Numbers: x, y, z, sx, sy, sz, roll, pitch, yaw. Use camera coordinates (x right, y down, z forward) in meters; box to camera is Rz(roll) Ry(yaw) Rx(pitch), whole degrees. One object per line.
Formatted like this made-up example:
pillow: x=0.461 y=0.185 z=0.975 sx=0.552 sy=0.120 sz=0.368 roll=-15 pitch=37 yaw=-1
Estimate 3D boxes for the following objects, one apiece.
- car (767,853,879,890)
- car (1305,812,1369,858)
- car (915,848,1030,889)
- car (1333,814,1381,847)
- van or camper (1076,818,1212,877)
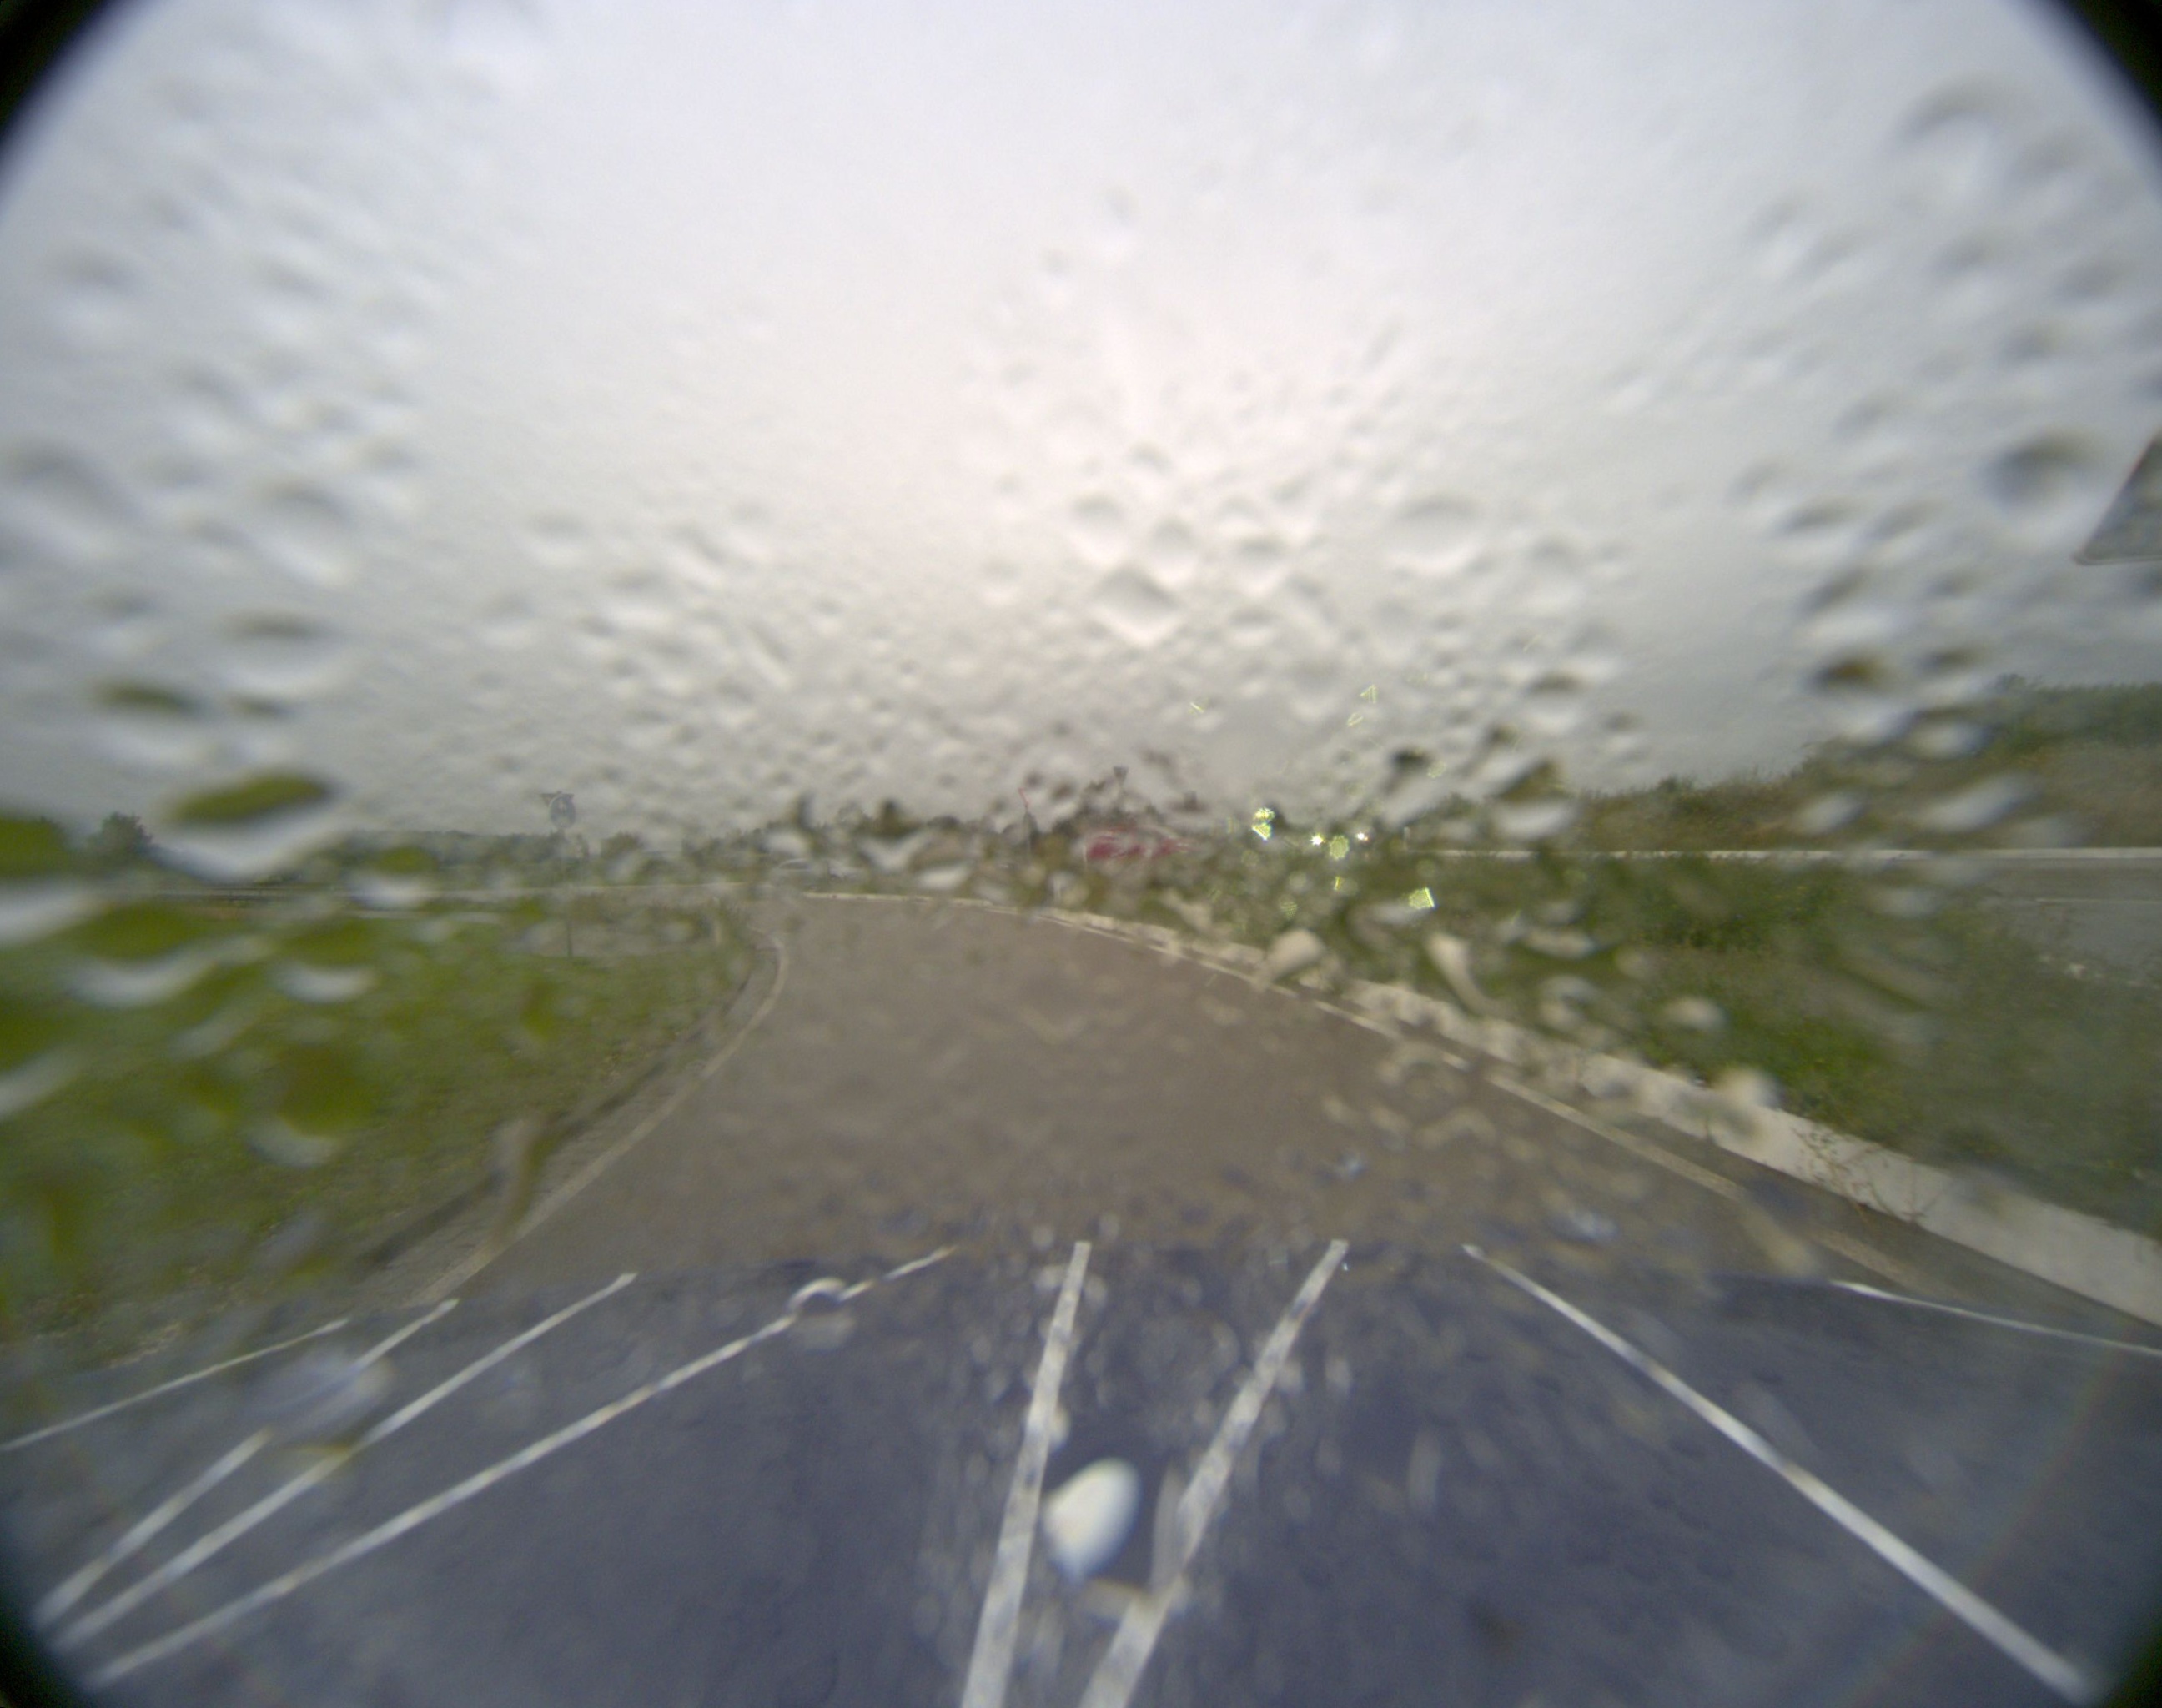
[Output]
car: x=-12.254 y=0.810 z=36.117 sx=4.653 sy=1.473 sz=2.002 roll=-2 pitch=3 yaw=18
car: x=10.327 y=-0.833 z=30.913 sx=1.997 sy=1.566 sz=4.502 roll=-5 pitch=2 yaw=14
car: x=-4.753 y=0.645 z=33.436 sx=4.514 sy=1.594 sz=2.003 roll=-2 pitch=0 yaw=21
car: x=15.370 y=-1.324 z=42.258 sx=1.822 sy=1.581 sz=4.006 roll=-4 pitch=0 yaw=29
van or camper: x=2.446 y=-0.238 z=29.921 sx=4.834 sy=2.003 sz=2.003 roll=-2 pitch=4 yaw=31
